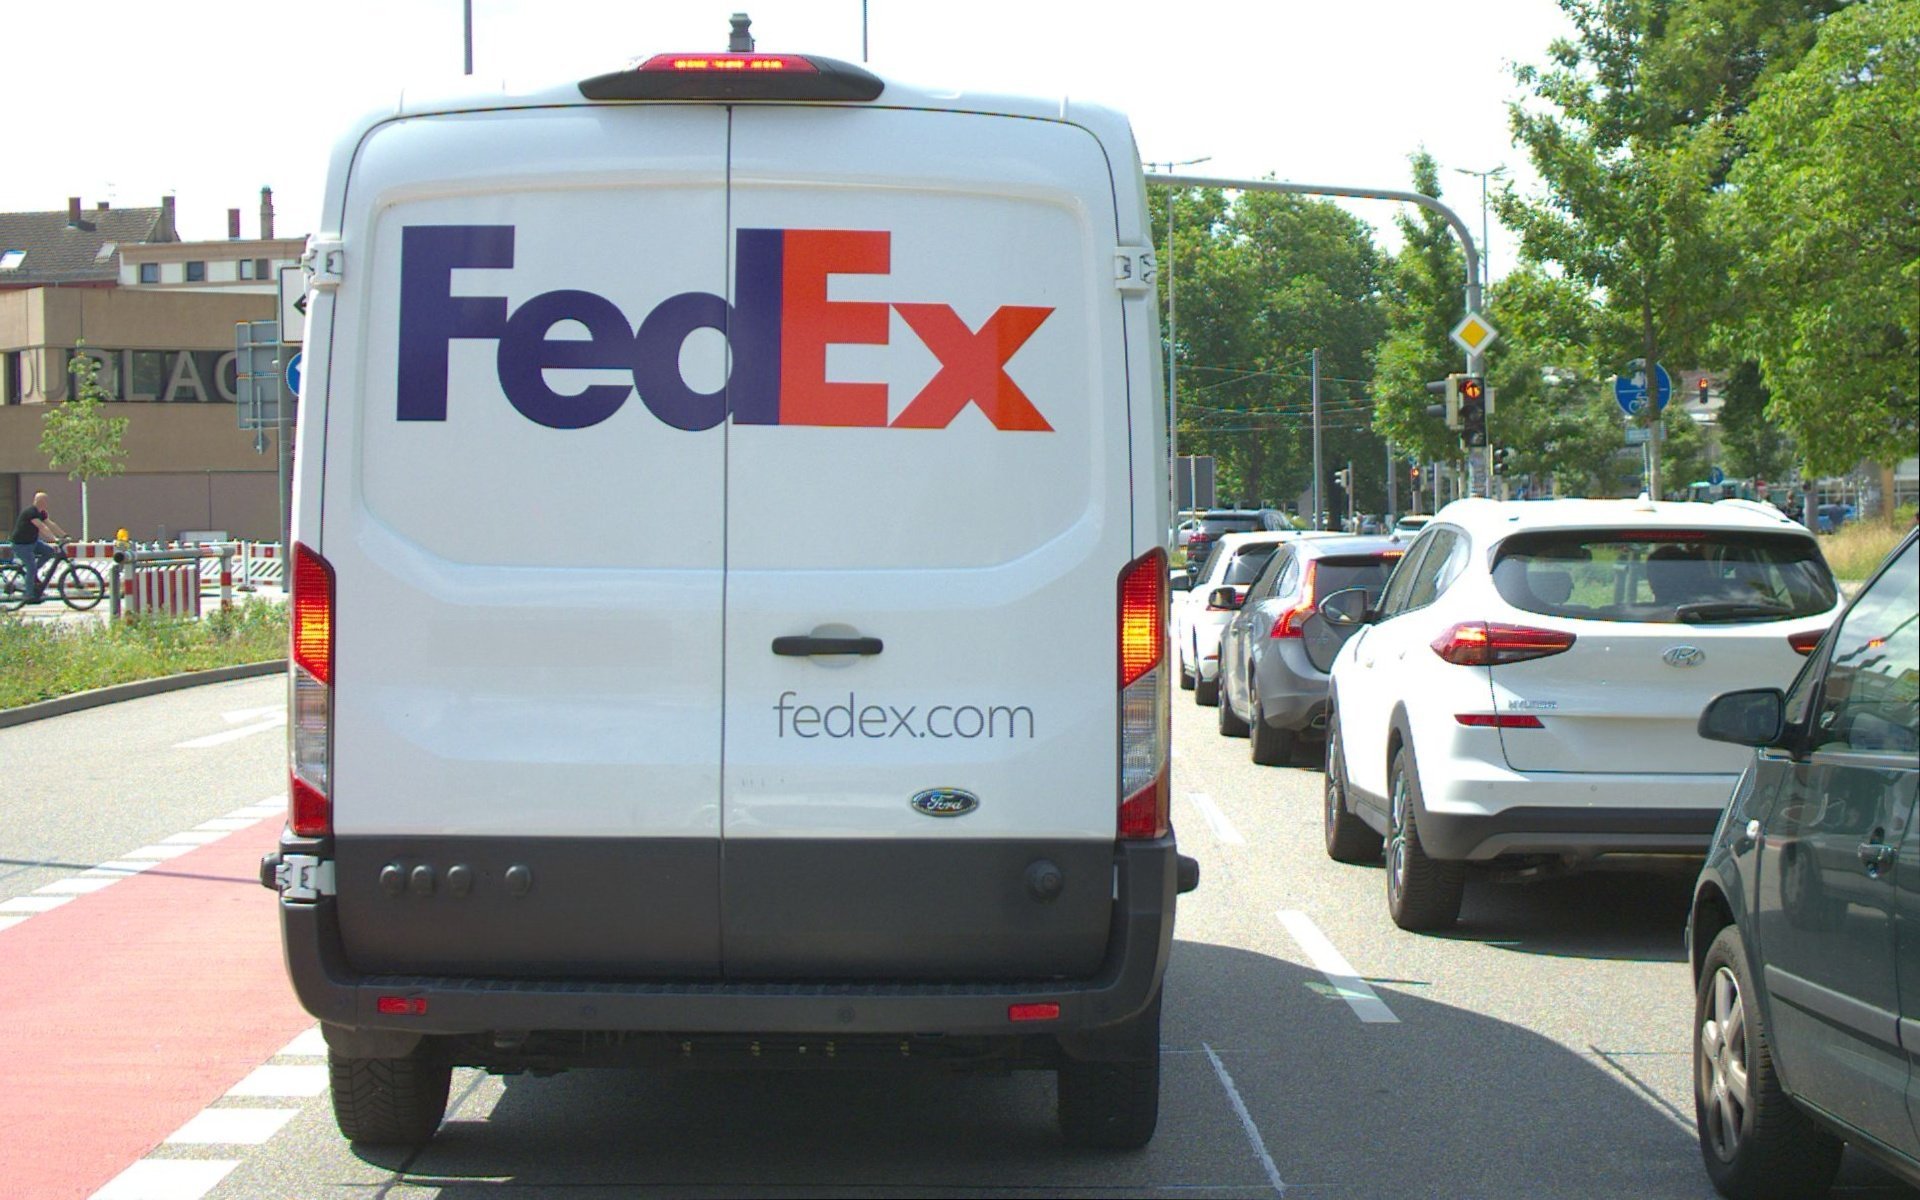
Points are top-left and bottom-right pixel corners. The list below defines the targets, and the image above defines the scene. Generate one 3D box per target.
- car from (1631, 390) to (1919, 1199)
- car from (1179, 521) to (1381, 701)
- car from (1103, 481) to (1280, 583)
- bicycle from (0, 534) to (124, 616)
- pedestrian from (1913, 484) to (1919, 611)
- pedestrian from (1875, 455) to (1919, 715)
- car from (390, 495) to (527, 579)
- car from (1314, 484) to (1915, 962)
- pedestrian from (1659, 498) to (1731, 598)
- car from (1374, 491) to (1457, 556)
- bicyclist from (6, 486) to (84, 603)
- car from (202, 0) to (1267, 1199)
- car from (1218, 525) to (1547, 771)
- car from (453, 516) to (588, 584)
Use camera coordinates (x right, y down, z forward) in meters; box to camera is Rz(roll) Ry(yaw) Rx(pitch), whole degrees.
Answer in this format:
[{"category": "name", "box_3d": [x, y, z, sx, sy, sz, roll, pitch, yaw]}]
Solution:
[{"category": "car", "box_3d": [2.561, 0.500, 6.129, 1.812, 1.728, 4.389, 0, 2, -1]}, {"category": "car", "box_3d": [2.698, 0.051, 29.532, 1.484, 1.423, 3.433, 0, 2, 1]}, {"category": "car", "box_3d": [4.807, -1.394, 70.744, 2.095, 2.007, 4.638, 0, 1, 25]}, {"category": "bicycle", "box_3d": [-14.527, -0.405, 55.190, 2.064, 1.285, 0.604, -1, 1, -7]}, {"category": "pedestrian", "box_3d": [12.046, -0.637, 41.503, 0.845, 1.533, 0.835, -1, 1, -1]}, {"category": "pedestrian", "box_3d": [7.326, -0.121, 25.324, 0.950, 1.886, 0.774, -1, 1, -1]}, {"category": "car", "box_3d": [-12.435, -1.567, 85.496, 1.995, 2.007, 3.998, -1, 1, 14]}, {"category": "car", "box_3d": [2.520, 0.383, 14.157, 1.798, 1.681, 4.000, 0, 2, 1]}, {"category": "pedestrian", "box_3d": [10.285, -0.733, 48.119, 0.845, 1.384, 0.741, -1, 1, -1]}, {"category": "car", "box_3d": [12.939, -2.153, 97.507, 1.994, 1.787, 4.369, -1, 1, 12]}, {"category": "bicyclist", "box_3d": [-14.674, -0.895, 55.153, 1.119, 1.838, 0.593, -1, 2, -7]}, {"category": "car", "box_3d": [-0.668, -0.030, 9.783, 2.140, 2.643, 5.705, 0, 1, -5]}, {"category": "car", "box_3d": [2.714, 0.252, 22.846, 1.798, 1.456, 3.838, 0, 2, 1]}, {"category": "car", "box_3d": [-10.631, -1.211, 83.399, 1.902, 1.579, 3.998, -1, 1, 14]}]
